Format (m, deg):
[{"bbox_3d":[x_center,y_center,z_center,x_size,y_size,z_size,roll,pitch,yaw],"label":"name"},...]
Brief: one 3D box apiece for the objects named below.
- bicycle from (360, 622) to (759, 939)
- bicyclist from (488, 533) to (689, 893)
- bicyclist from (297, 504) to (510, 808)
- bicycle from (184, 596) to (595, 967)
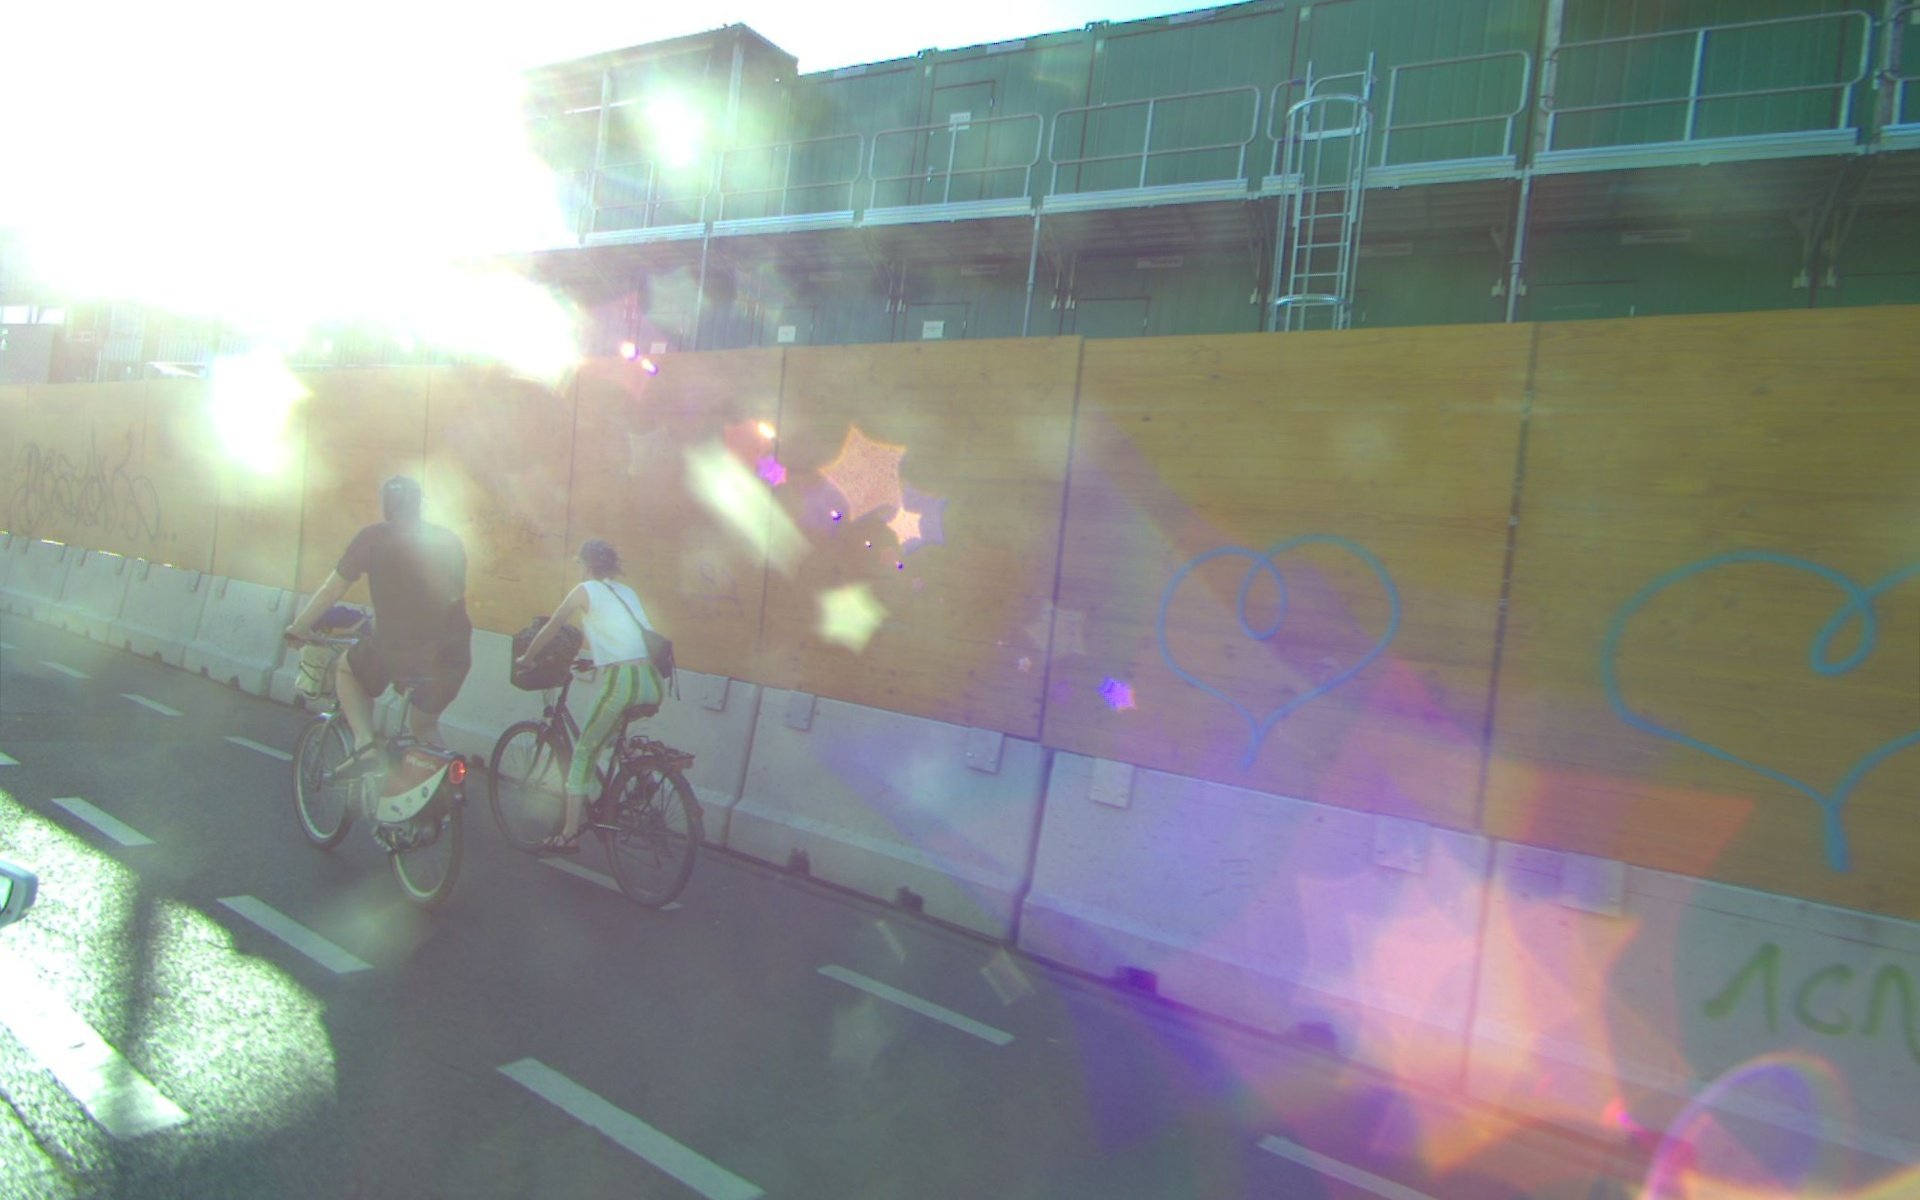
[{"bbox_3d":[-2.129,0.819,5.183,2.237,1.141,0.558,7,1,30],"label":"bicycle"},{"bbox_3d":[-1.847,0.532,5.022,0.567,1.633,0.557,7,1,31],"label":"bicyclist"},{"bbox_3d":[-2.497,0.248,4.552,0.347,1.253,0.652,7,1,30],"label":"bicyclist"},{"bbox_3d":[-2.690,0.695,4.603,2.241,1.168,0.668,6,-2,37],"label":"bicycle"}]
